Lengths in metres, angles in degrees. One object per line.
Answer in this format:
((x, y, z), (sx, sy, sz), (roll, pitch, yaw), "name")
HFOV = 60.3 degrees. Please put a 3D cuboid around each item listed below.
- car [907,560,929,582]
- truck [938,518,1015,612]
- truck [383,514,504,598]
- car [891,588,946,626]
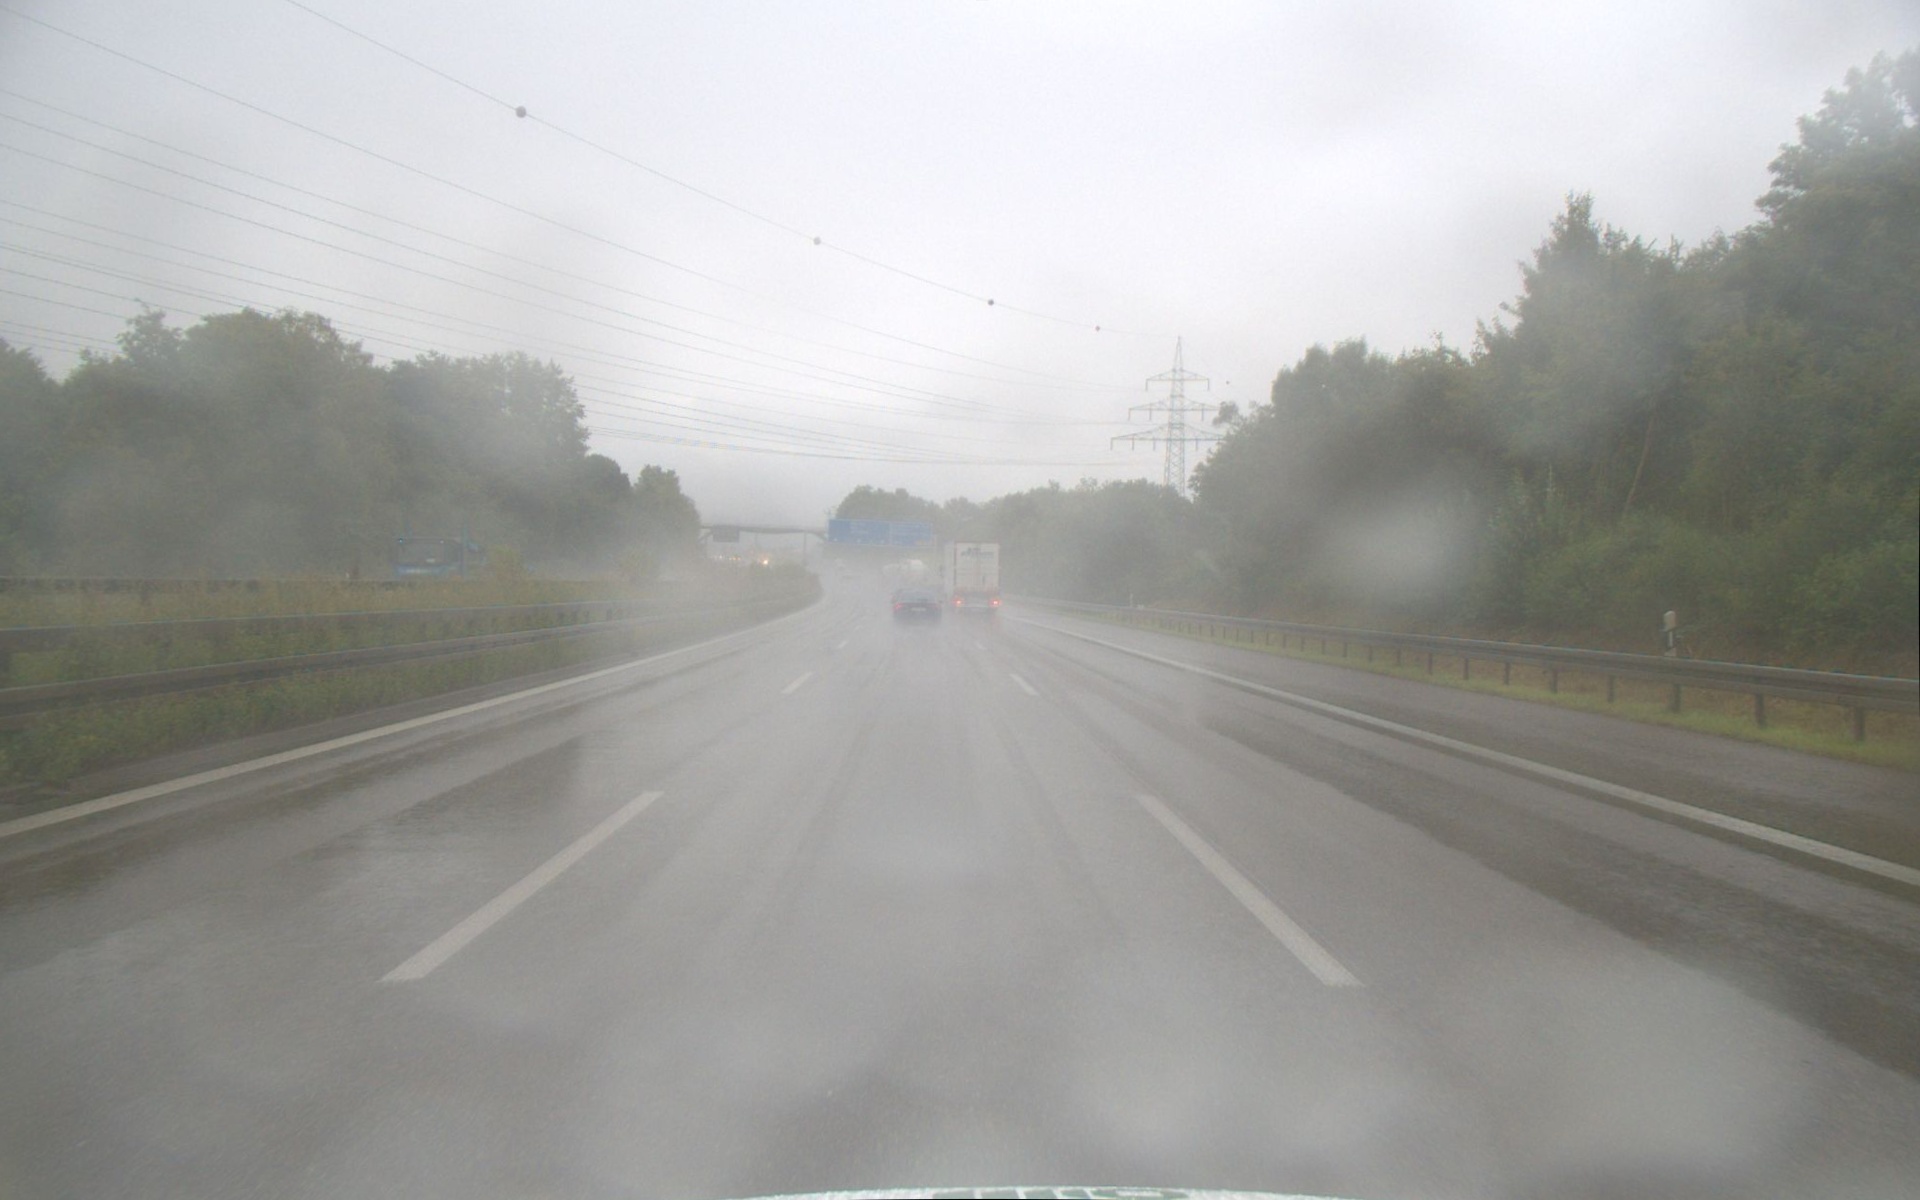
((-4.614, -3.149, 181.694), (2.345, 2.312, 5.001), (2, 1, -2), "car")
((0.944, -1.983, 98.282), (4.169, 5.059, 17.341), (0, 1, 0), "truck")
((-22.814, -1.899, 73.486), (3.007, 3.333, 7.389), (4, 0, -2), "truck")
((-1.470, 0.240, 60.059), (1.712, 1.233, 4.001), (3, 0, 2), "car")
